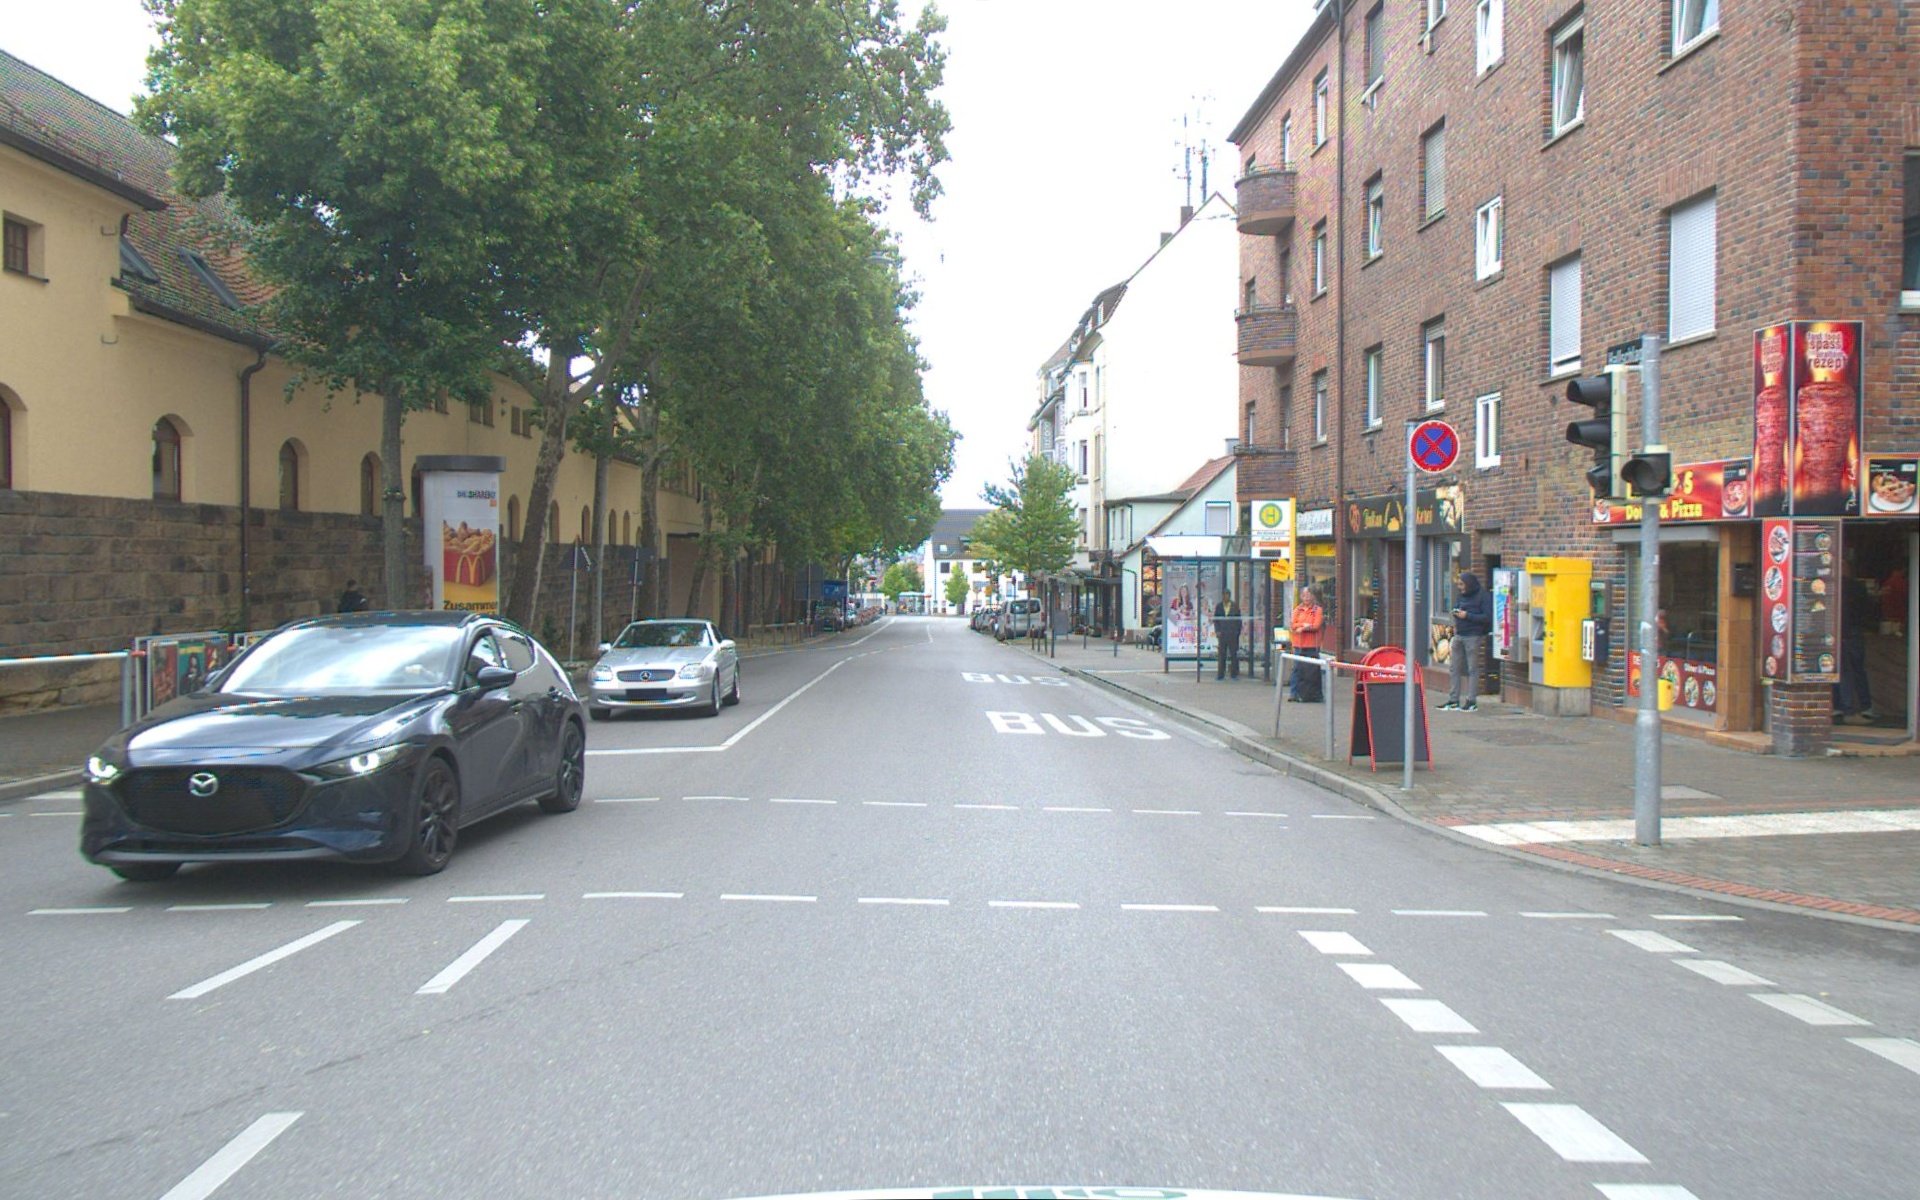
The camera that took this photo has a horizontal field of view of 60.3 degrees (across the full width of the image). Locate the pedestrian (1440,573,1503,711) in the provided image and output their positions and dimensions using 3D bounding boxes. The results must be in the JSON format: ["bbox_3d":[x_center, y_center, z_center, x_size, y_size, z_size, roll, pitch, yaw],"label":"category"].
[{"bbox_3d":[6.775,0.547,21.937,0.634,1.780,0.778,0,0,4],"label":"pedestrian"}]

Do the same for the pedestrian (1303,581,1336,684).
[{"bbox_3d":[6.304,0.564,29.027,0.469,1.796,0.457,0,-1,-2],"label":"pedestrian"}]

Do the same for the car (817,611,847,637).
[{"bbox_3d":[-8.001,1.492,103.699,1.798,1.605,3.753,0,0,-4],"label":"car"}]

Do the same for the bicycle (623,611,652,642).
[{"bbox_3d":[-12.172,1.001,62.473,0.584,1.110,2.195,3,0,0],"label":"bicycle"}]

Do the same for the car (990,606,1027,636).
[{"bbox_3d":[2.628,1.121,90.725,1.636,1.574,3.753,0,0,-4],"label":"car"}]

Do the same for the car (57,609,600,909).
[{"bbox_3d":[-3.600,0.806,10.327,1.667,1.439,4.193,-1,0,2],"label":"car"}]

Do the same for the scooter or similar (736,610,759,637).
[{"bbox_3d":[-9.475,1.036,73.725,1.010,1.205,0.490,1,0,-11],"label":"scooter or similar"}]

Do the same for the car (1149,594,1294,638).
[{"bbox_3d":[9.352,0.560,59.167,4.806,1.495,1.928,0,0,25],"label":"car"}]

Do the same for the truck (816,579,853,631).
[{"bbox_3d":[-8.528,0.314,113.068,2.186,3.405,7.446,0,0,-2],"label":"truck"}]

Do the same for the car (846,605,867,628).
[{"bbox_3d":[-7.815,1.234,124.536,1.503,1.668,3.715,0,0,-4],"label":"car"}]

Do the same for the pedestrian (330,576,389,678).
[{"bbox_3d":[-10.941,0.492,30.166,0.761,1.826,0.874,0,0,-2],"label":"pedestrian"}]

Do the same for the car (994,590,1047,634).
[{"bbox_3d":[2.800,0.539,77.327,1.954,1.969,4.915,0,0,-4],"label":"car"}]

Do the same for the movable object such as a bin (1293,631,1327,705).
[{"bbox_3d":[5.210,1.002,24.599,0.443,1.075,0.410,0,-1,18],"label":"movable object such as a bin"}]

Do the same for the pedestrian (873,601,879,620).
[{"bbox_3d":[-8.950,1.130,176.399,0.620,2.049,0.784,0,0,0],"label":"pedestrian"}]

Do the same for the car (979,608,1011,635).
[{"bbox_3d":[2.096,1.279,100.556,1.636,1.574,3.753,0,0,-4],"label":"car"}]

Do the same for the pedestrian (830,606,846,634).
[{"bbox_3d":[-6.906,1.116,93.618,0.667,1.563,0.603,1,0,-37],"label":"pedestrian"}]

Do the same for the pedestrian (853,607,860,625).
[{"bbox_3d":[-11.428,1.772,182.774,0.620,2.030,0.784,0,0,0],"label":"pedestrian"}]

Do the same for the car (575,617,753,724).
[{"bbox_3d":[-4.001,0.917,22.987,1.651,1.298,4.095,-2,-1,0],"label":"car"}]

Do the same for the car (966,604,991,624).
[{"bbox_3d":[1.438,1.113,130.739,1.636,1.574,3.753,0,0,-4],"label":"car"}]

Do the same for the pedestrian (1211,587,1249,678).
[{"bbox_3d":[5.292,0.630,32.437,0.656,1.758,0.764,0,0,4],"label":"pedestrian"}]

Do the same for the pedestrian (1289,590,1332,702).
[{"bbox_3d":[5.281,0.679,24.893,0.553,1.665,0.681,0,0,19],"label":"pedestrian"}]
